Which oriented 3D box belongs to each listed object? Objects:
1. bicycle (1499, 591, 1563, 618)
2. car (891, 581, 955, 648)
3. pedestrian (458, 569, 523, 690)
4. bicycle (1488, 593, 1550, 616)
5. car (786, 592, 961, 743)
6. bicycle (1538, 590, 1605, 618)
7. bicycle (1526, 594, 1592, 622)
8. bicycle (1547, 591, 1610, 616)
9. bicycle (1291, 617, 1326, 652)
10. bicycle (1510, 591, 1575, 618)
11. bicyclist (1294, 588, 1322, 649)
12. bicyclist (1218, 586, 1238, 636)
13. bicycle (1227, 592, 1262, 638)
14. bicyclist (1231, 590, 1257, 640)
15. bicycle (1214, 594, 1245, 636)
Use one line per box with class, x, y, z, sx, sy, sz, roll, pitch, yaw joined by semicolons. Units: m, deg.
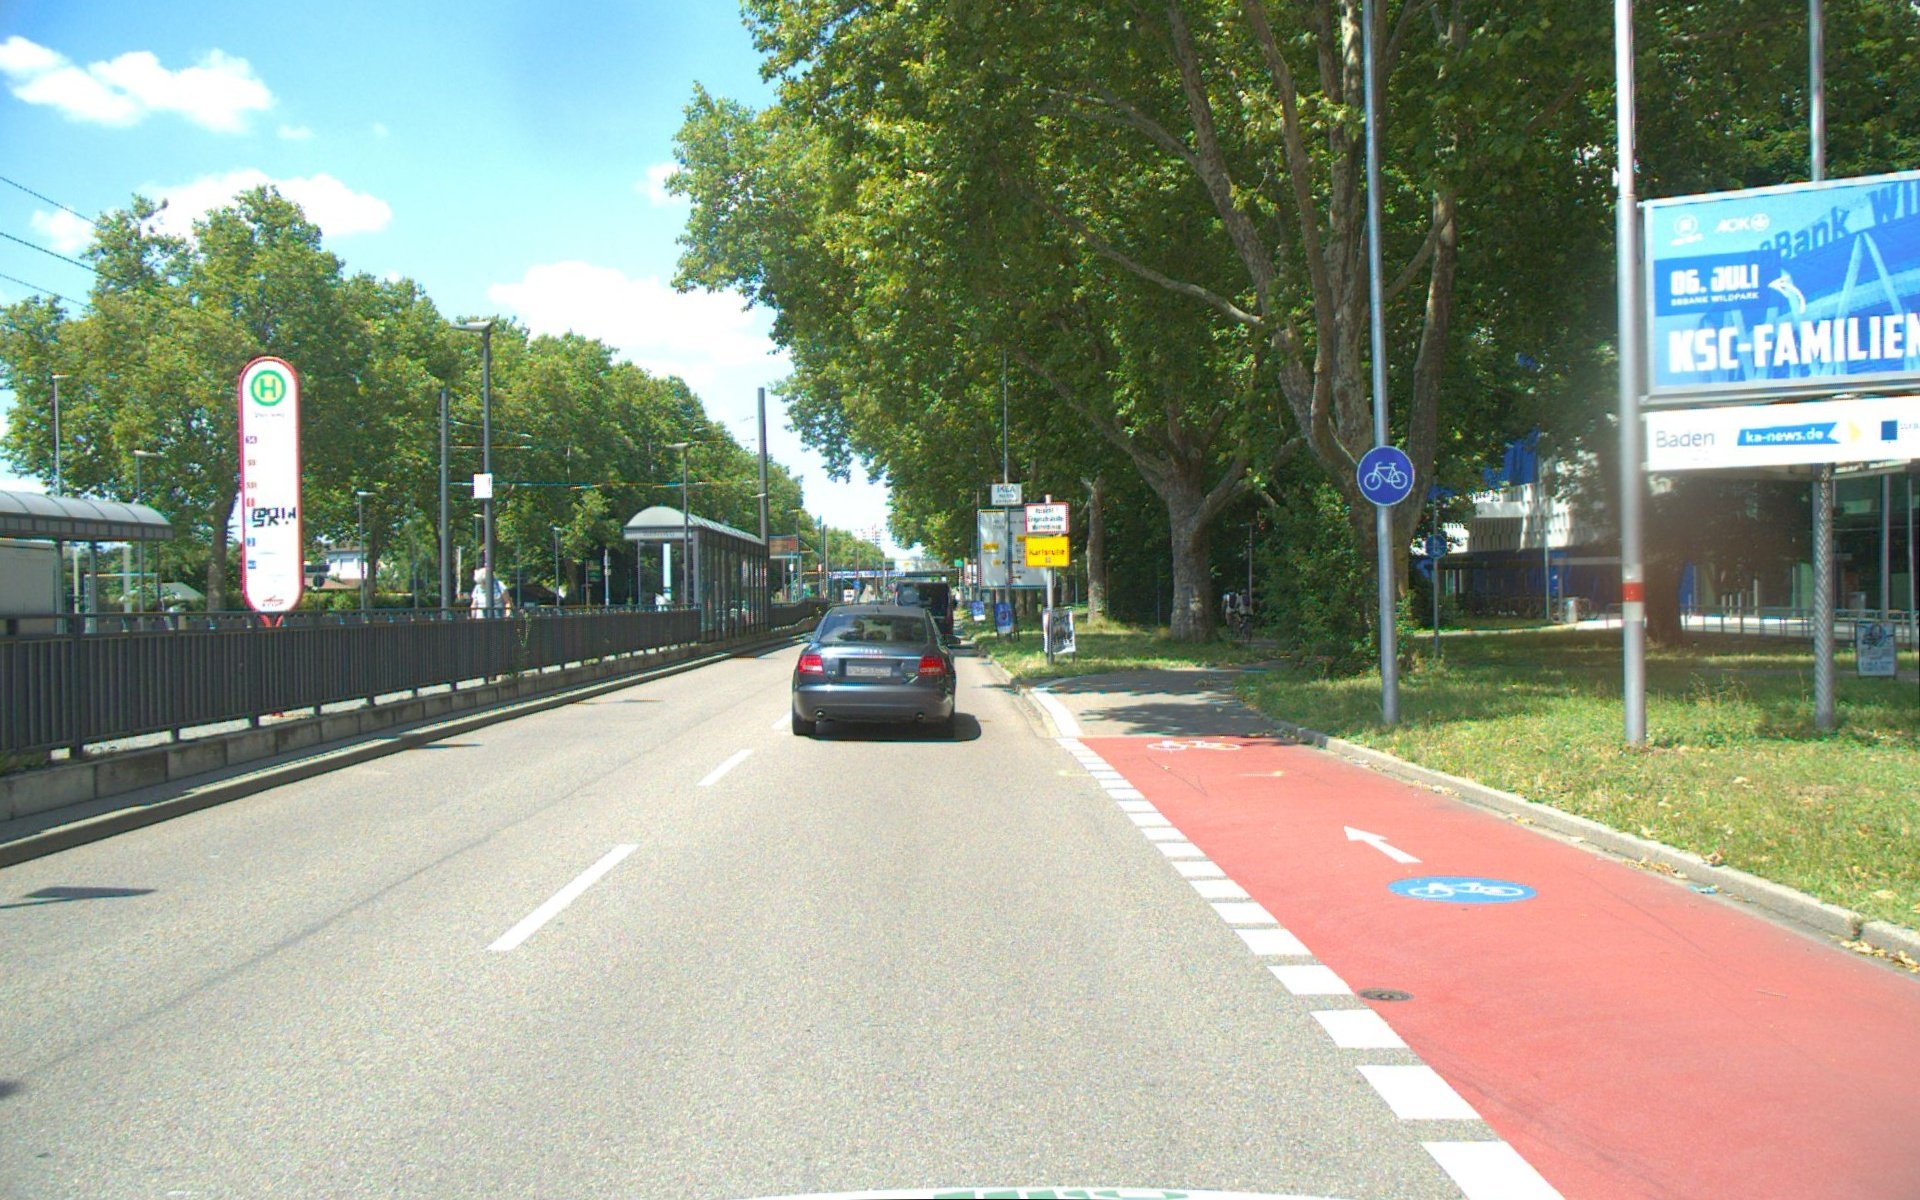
bicycle;24.484;0.198;70.930;2.496;1.130;0.758;0;0;-6
car;-1.112;0.440;51.867;1.810;1.994;4.145;0;0;1
pedestrian;-6.654;0.412;23.485;0.718;1.694;0.742;0;0;-2
bicycle;24.409;0.207;72.198;2.496;0.987;0.758;0;0;-6
car;-0.908;0.694;19.159;1.805;1.510;4.000;-1;1;0
bicycle;24.928;0.156;67.423;2.496;1.130;0.758;0;0;-6
bicycle;24.774;0.326;68.430;2.496;1.130;0.758;0;0;-6
bicycle;24.806;0.146;66.360;2.271;0.977;0.758;0;0;-6
bicycle;9.537;0.937;45.328;0.632;0.902;2.024;-1;0;3
bicycle;24.467;0.187;69.498;2.496;1.130;0.758;0;0;-6
bicyclist;9.512;0.497;45.275;0.610;1.638;0.817;-1;0;2
bicyclist;9.481;0.377;58.538;0.585;1.776;0.843;0;0;-1
bicycle;9.233;0.468;53.768;0.598;1.444;2.661;-1;0;-1
bicyclist;9.239;0.489;53.831;0.645;1.627;1.053;-1;0;-1
bicycle;9.478;0.506;58.253;0.598;1.444;2.661;-1;0;-1
